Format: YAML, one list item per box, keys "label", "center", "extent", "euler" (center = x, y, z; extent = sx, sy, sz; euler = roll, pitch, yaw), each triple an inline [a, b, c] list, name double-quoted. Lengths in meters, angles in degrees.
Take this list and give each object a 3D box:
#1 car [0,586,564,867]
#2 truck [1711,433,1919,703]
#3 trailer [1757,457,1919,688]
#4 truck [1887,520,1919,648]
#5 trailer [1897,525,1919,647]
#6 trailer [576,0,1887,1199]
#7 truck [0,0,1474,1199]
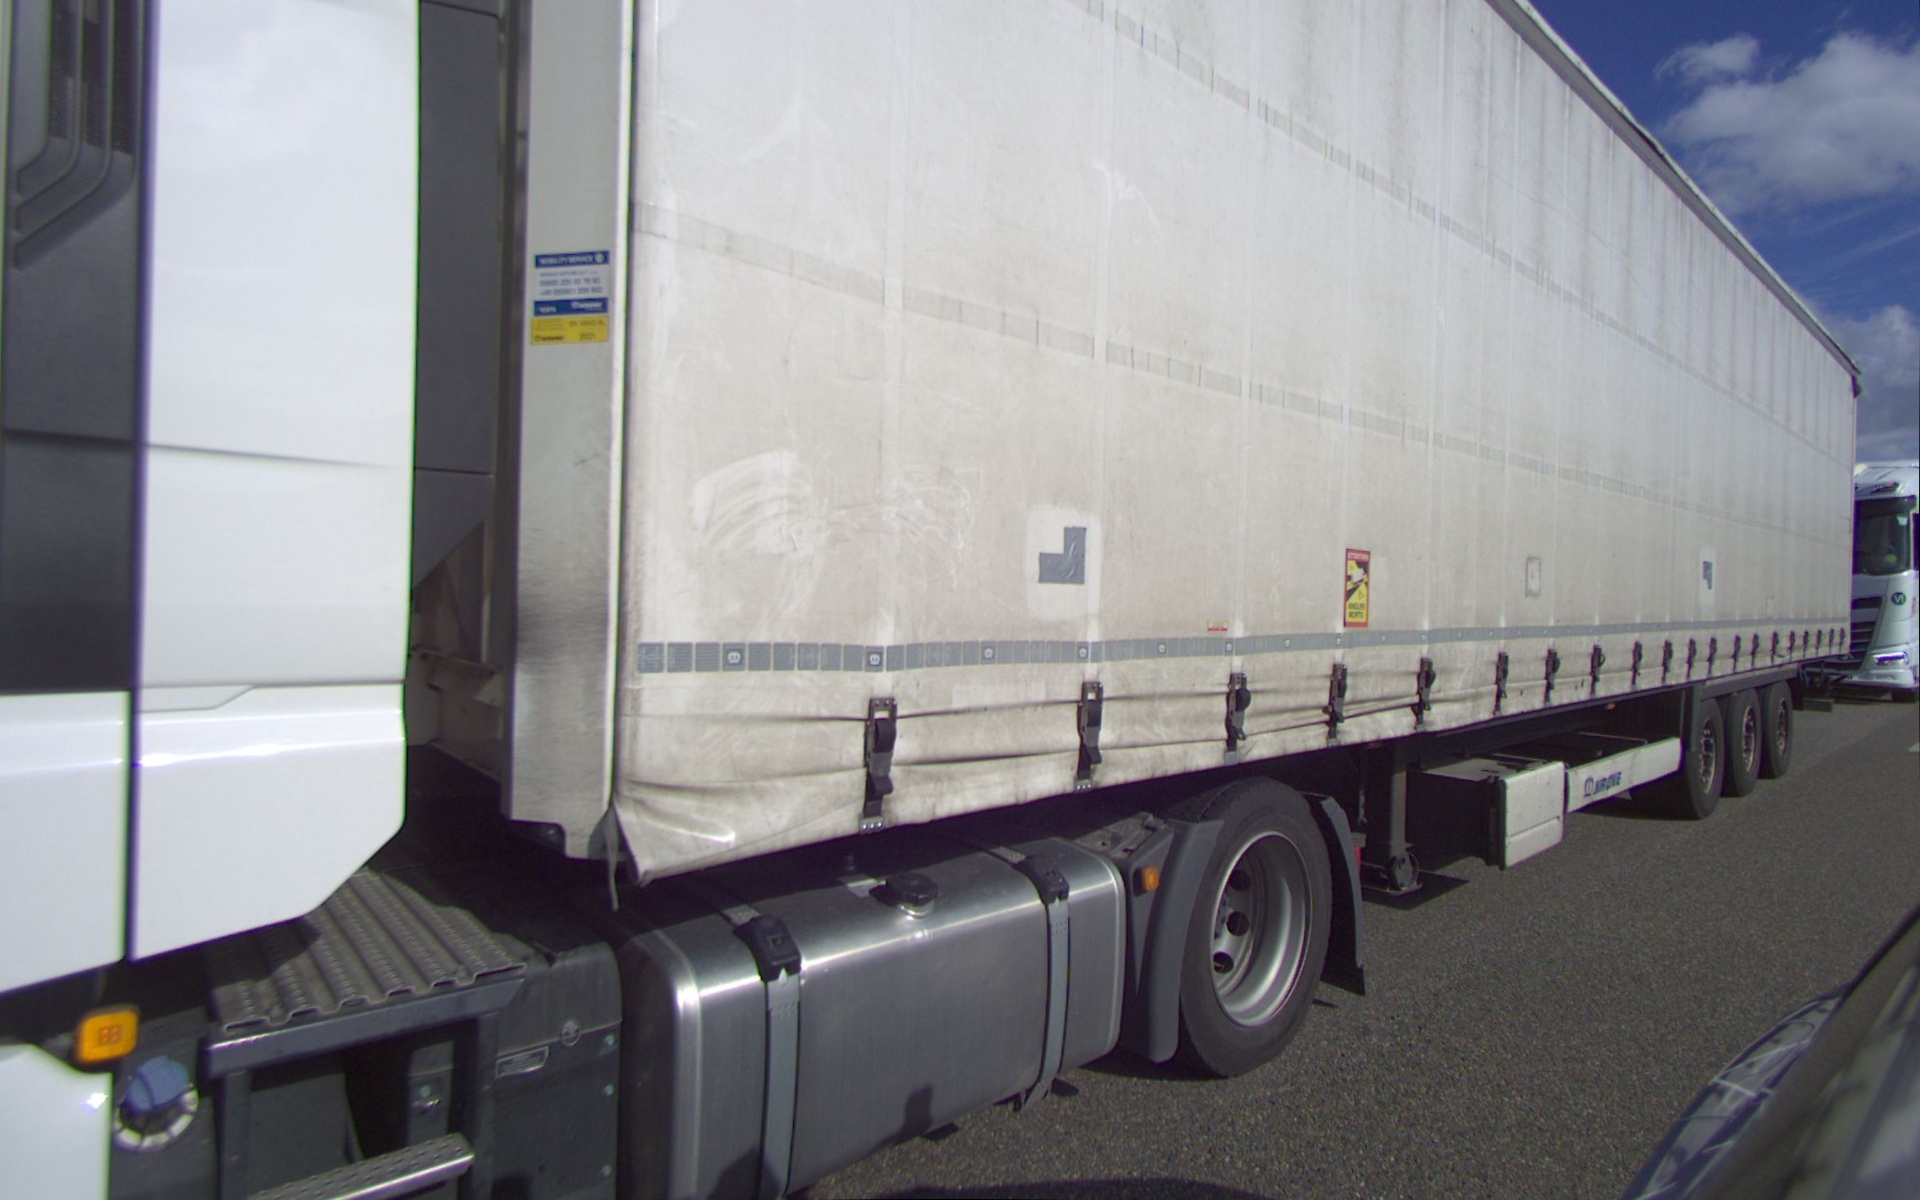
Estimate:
- label: "car"
  center: [-4.559, 0.614, 6.160]
  extent: [3.673, 1.369, 1.635]
  euler: [0, 0, -42]
- label: "truck"
  center: [15.753, -0.487, 17.844]
  extent: [6.874, 3.917, 2.651]
  euler: [0, 0, -41]
- label: "trailer"
  center: [20.654, -0.505, 22.163]
  extent: [13.161, 3.917, 2.666]
  euler: [0, 0, -41]
- label: "truck"
  center: [32.420, -0.509, 32.834]
  extent: [5.724, 3.989, 2.806]
  euler: [0, -1, -41]
- label: "trailer"
  center: [36.805, -0.481, 36.652]
  extent: [12.841, 3.989, 2.796]
  euler: [0, -1, -41]
- label: "trailer"
  center: [4.047, -0.705, 7.472]
  extent: [12.718, 4.133, 2.708]
  euler: [0, 1, -41]
- label: "truck"
  center: [-1.331, -0.699, 2.740]
  extent: [6.250, 4.110, 2.713]
  euler: [0, 1, -41]
